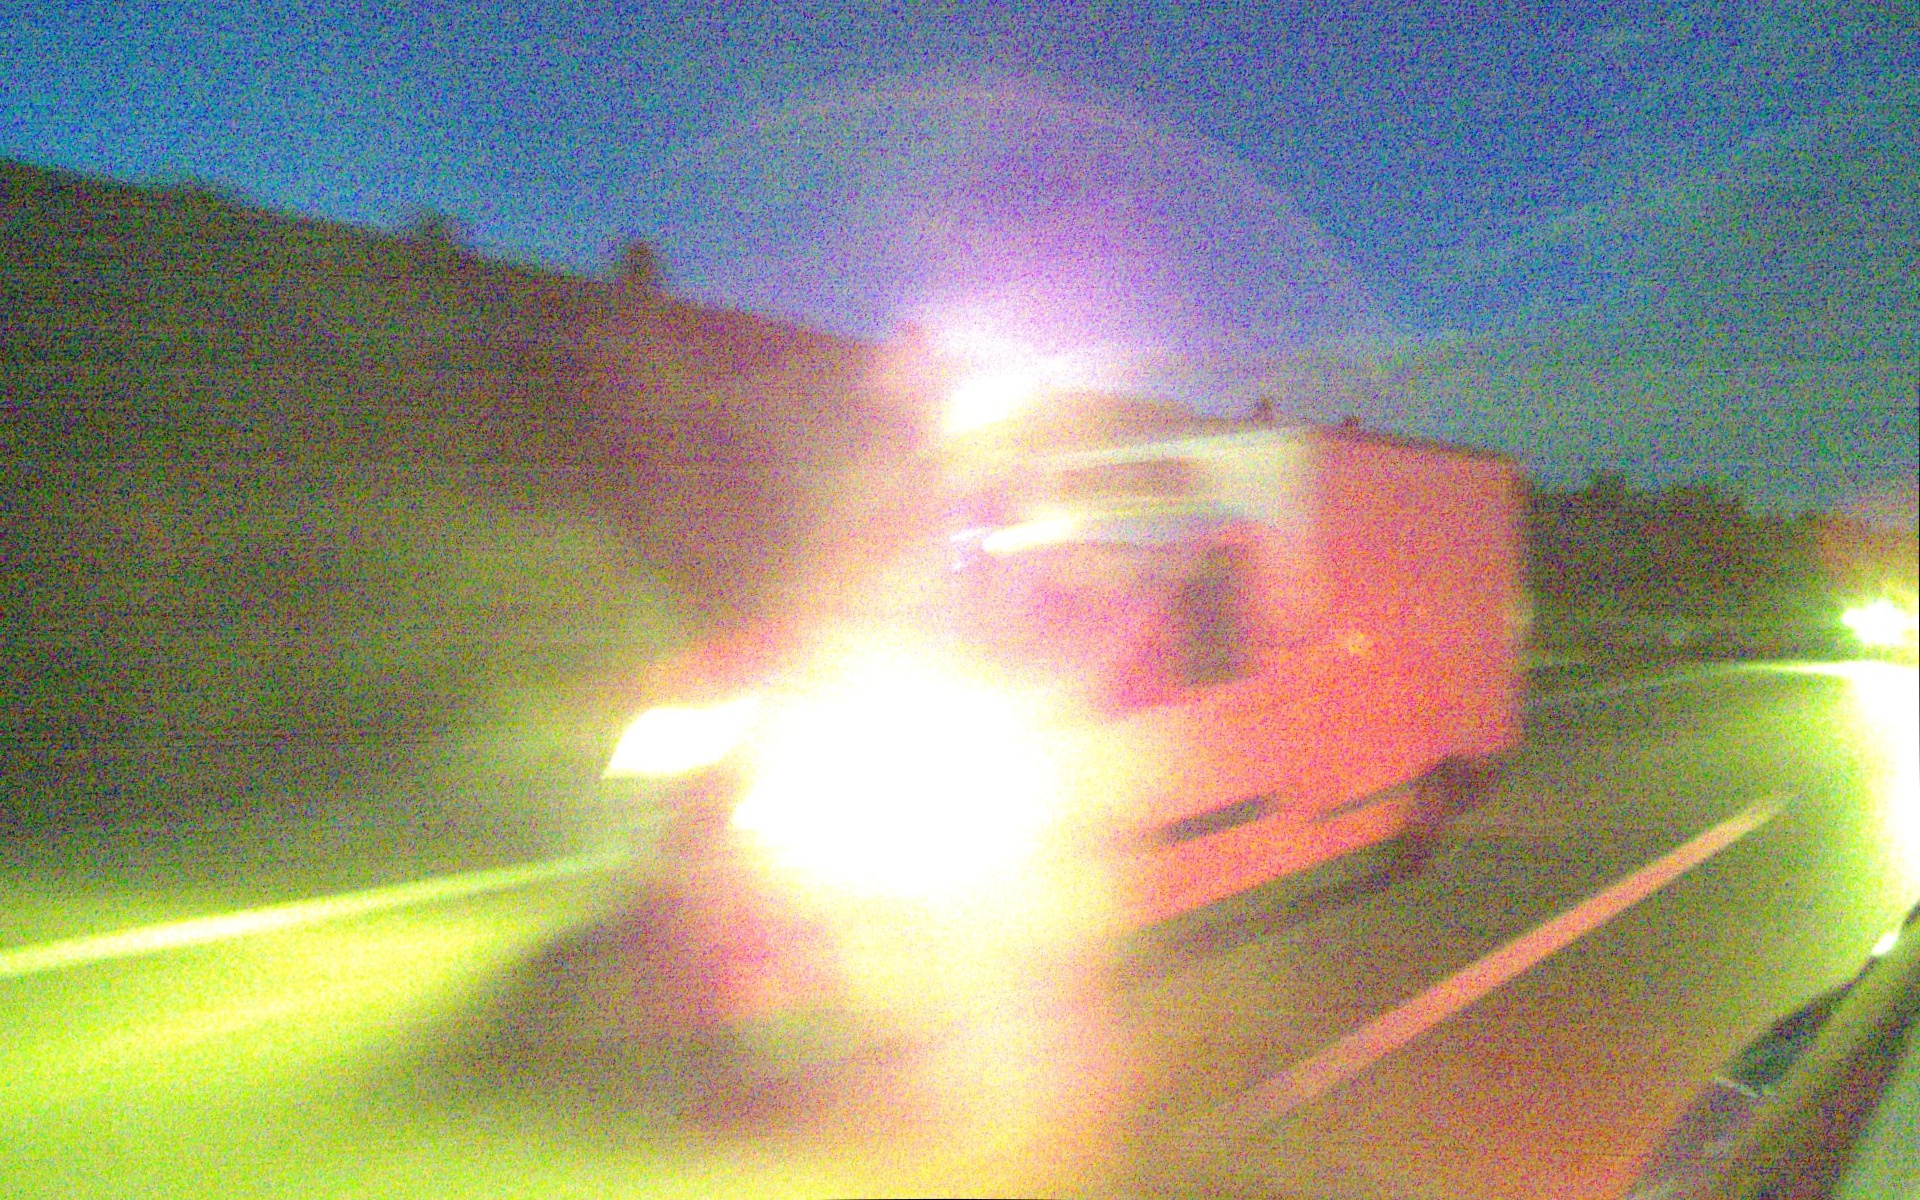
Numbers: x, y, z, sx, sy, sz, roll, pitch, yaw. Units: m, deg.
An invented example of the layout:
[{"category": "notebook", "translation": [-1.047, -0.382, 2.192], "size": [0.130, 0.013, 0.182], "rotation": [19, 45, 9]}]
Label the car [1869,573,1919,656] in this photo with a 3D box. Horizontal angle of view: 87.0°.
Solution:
[{"category": "car", "translation": [25.784, 0.366, 26.678], "size": [5.566, 2.026, 2.119], "rotation": [0, 0, -42]}]

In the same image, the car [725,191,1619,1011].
[{"category": "car", "translation": [1.679, -0.003, 5.895], "size": [5.622, 2.680, 2.037], "rotation": [0, 0, -40]}]
